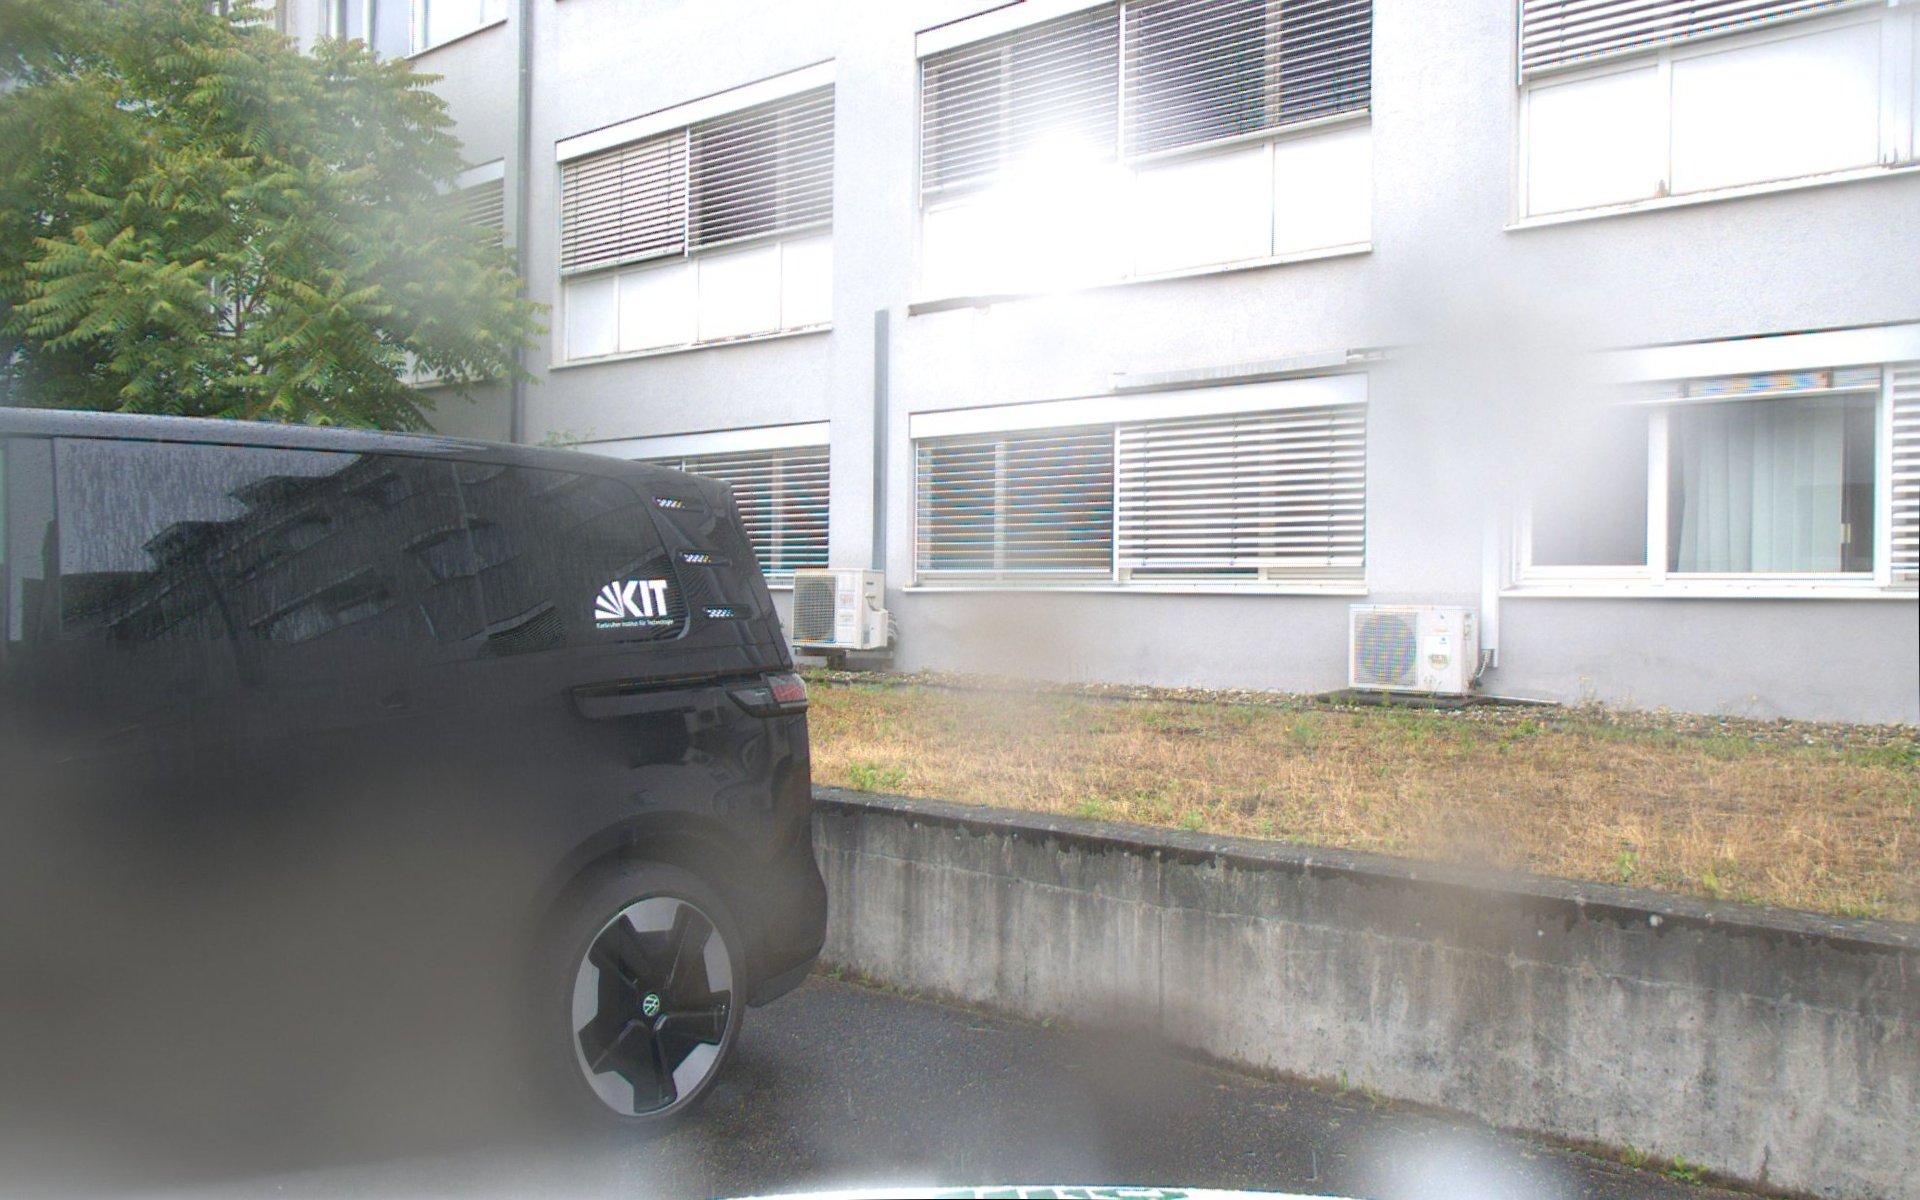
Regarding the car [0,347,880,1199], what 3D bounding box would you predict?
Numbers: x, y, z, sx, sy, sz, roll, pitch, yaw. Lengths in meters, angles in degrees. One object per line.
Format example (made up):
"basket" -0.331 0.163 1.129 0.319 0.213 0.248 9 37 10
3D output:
"car" -2.432 0.496 3.898 2.008 1.930 4.499 -1 0 39
